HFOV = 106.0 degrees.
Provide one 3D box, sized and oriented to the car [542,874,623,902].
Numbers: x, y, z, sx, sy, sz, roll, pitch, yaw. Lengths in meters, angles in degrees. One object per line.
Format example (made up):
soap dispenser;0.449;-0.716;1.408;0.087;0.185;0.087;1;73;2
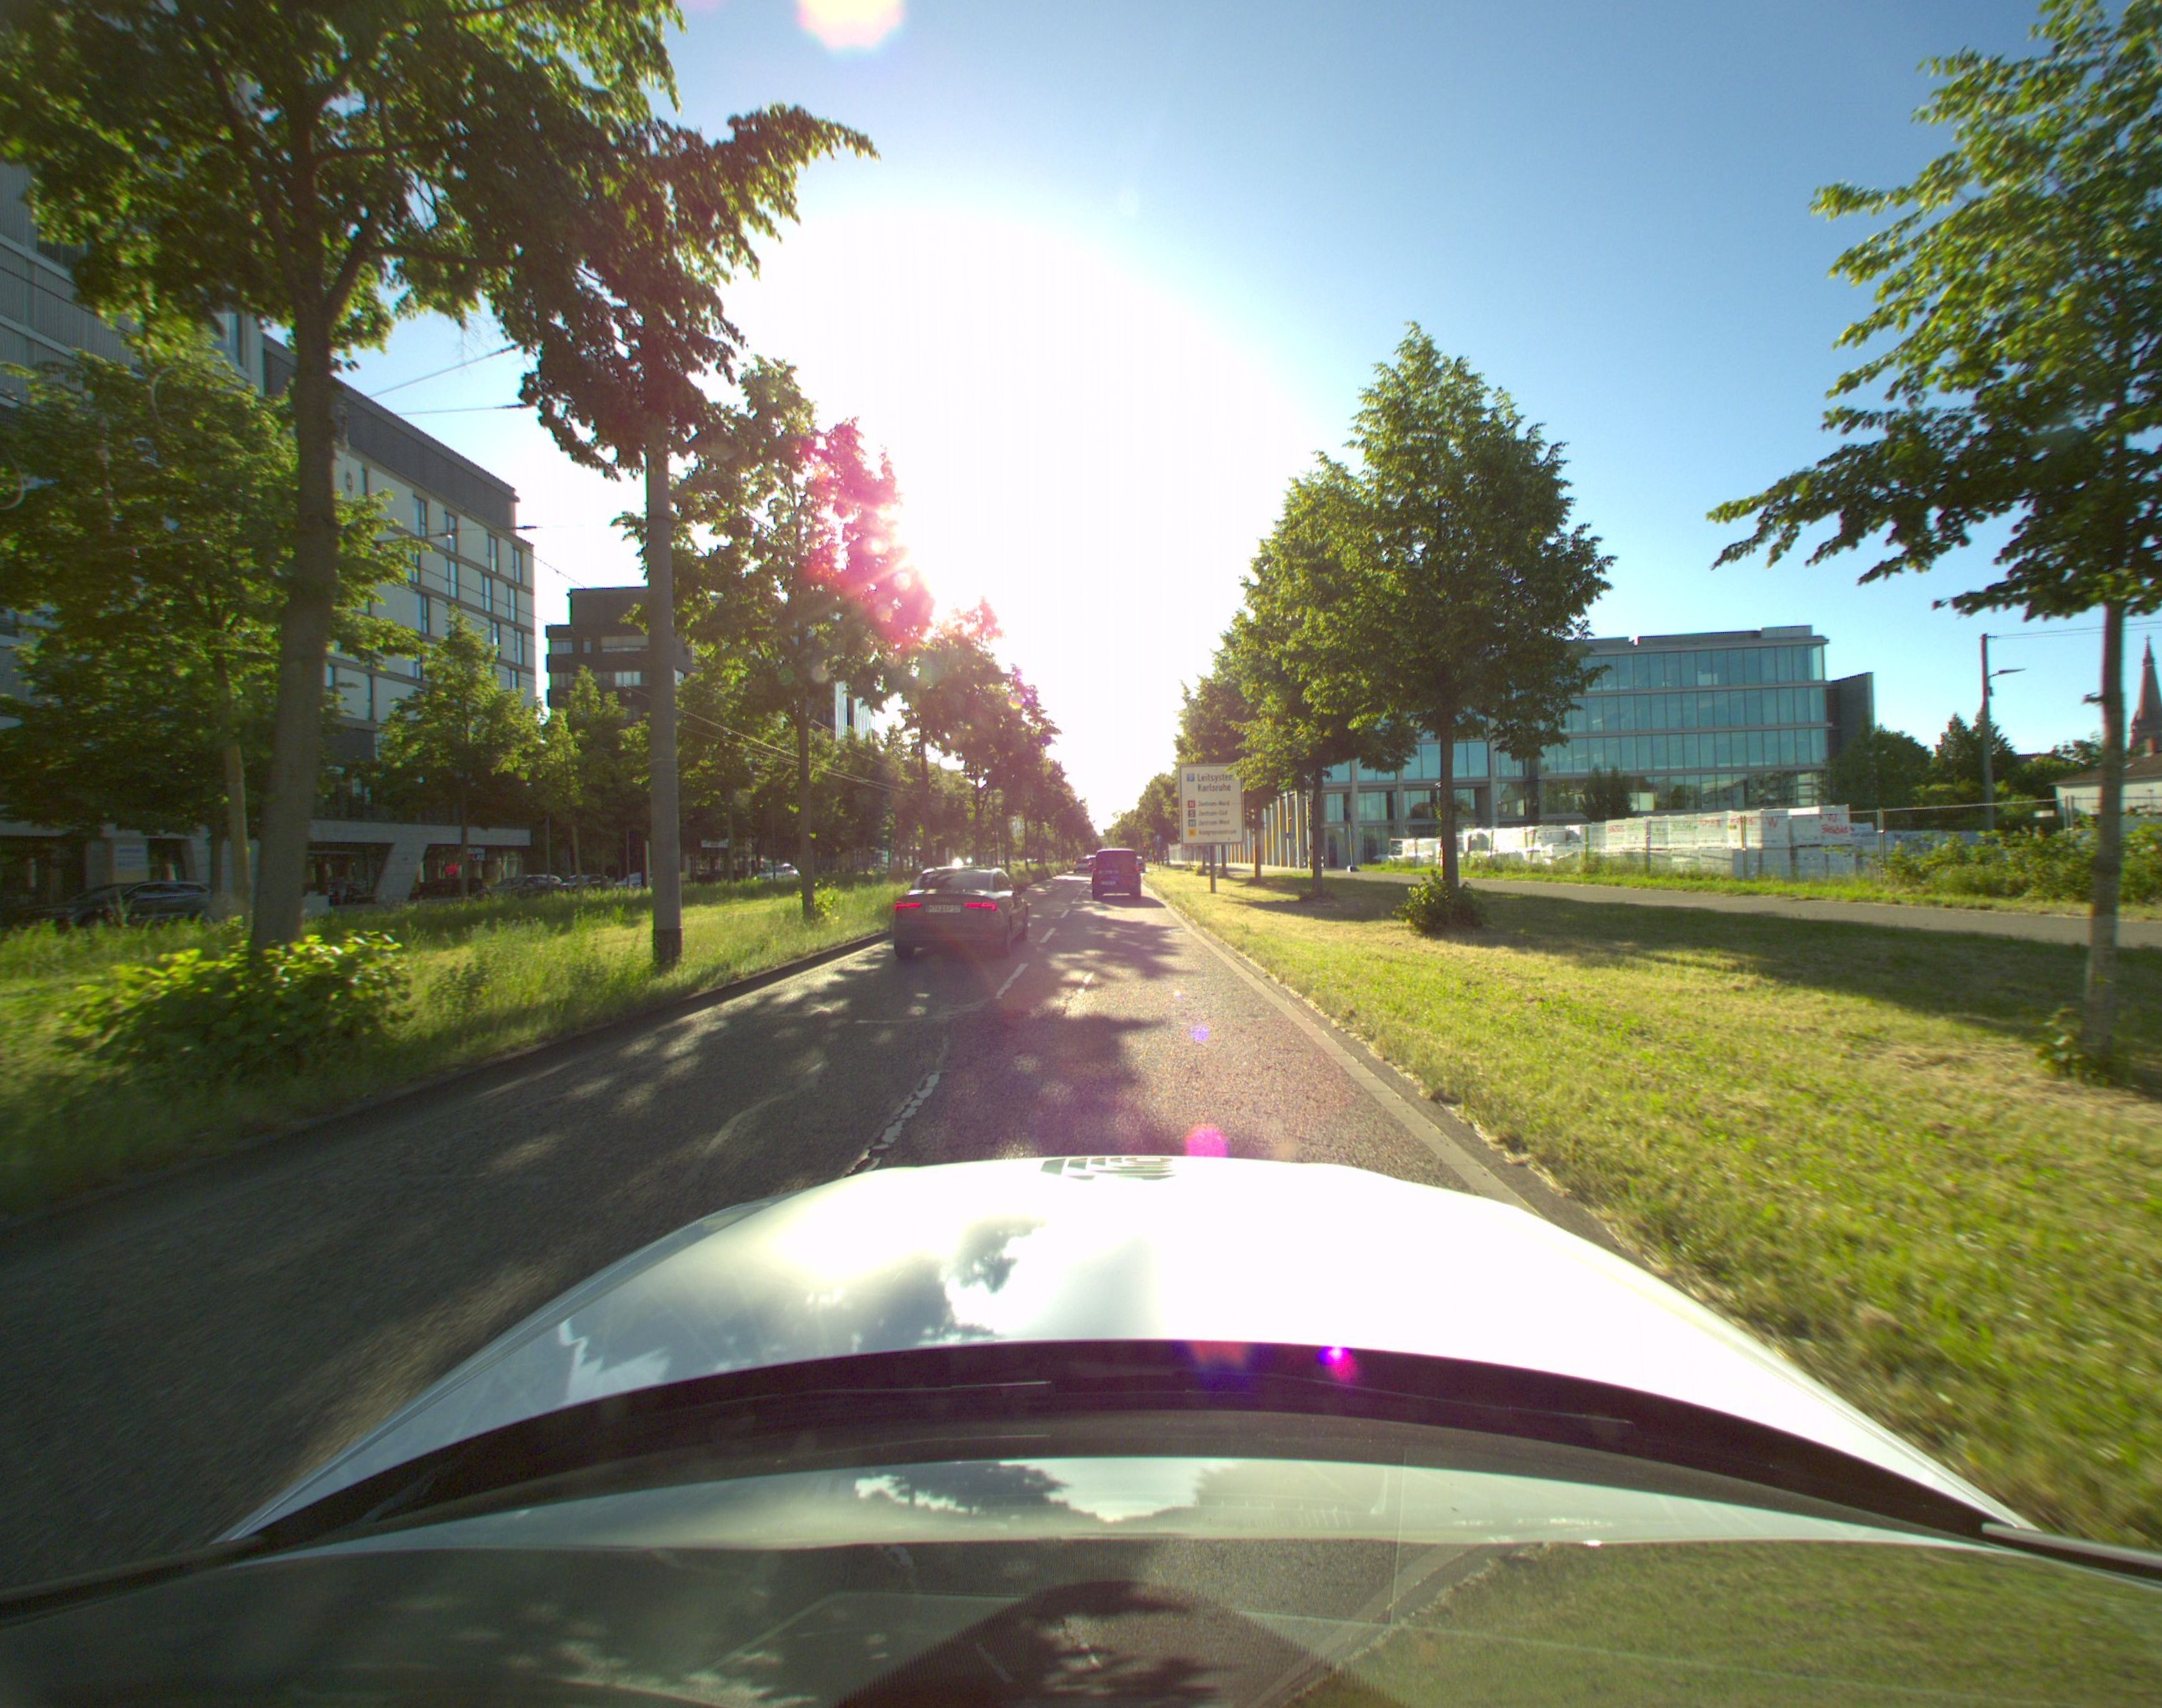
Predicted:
car;-29.256;1.952;47.956;1.708;1.420;4.549;-2;0;4

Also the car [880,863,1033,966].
car;-1.887;0.883;13.601;1.714;1.366;4.148;-1;0;2

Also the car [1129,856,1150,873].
car;5.353;0.964;75.206;1.715;1.425;3.817;0;1;1

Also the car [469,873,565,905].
car;-29.492;1.793;42.796;1.708;1.420;4.547;-2;0;2

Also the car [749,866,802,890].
car;-20.514;1.596;54.924;1.791;1.292;4.312;-3;1;1

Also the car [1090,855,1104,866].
car;2.391;0.966;121.721;1.835;1.534;3.943;-2;0;3

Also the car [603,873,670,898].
car;-29.073;2.026;53.433;1.708;1.420;4.547;-2;0;2

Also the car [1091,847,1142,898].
car;1.278;0.646;30.238;1.791;1.777;4.001;0;0;1

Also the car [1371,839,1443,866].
car;26.595;-0.104;66.567;5.039;1.982;1.942;-2;0;7

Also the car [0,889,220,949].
car;-30.075;1.934;25.168;1.662;1.420;4.807;-2;0;2

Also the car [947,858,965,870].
car;-18.257;1.438;119.028;1.791;1.689;4.323;0;1;2

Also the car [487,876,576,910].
car;-33.188;2.299;49.361;1.791;1.777;5.130;0;1;1

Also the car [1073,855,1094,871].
car;0.259;0.863;77.688;1.936;1.441;3.999;-2;0;0

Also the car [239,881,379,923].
car;-29.717;1.800;31.514;1.727;1.354;3.755;-2;0;2
